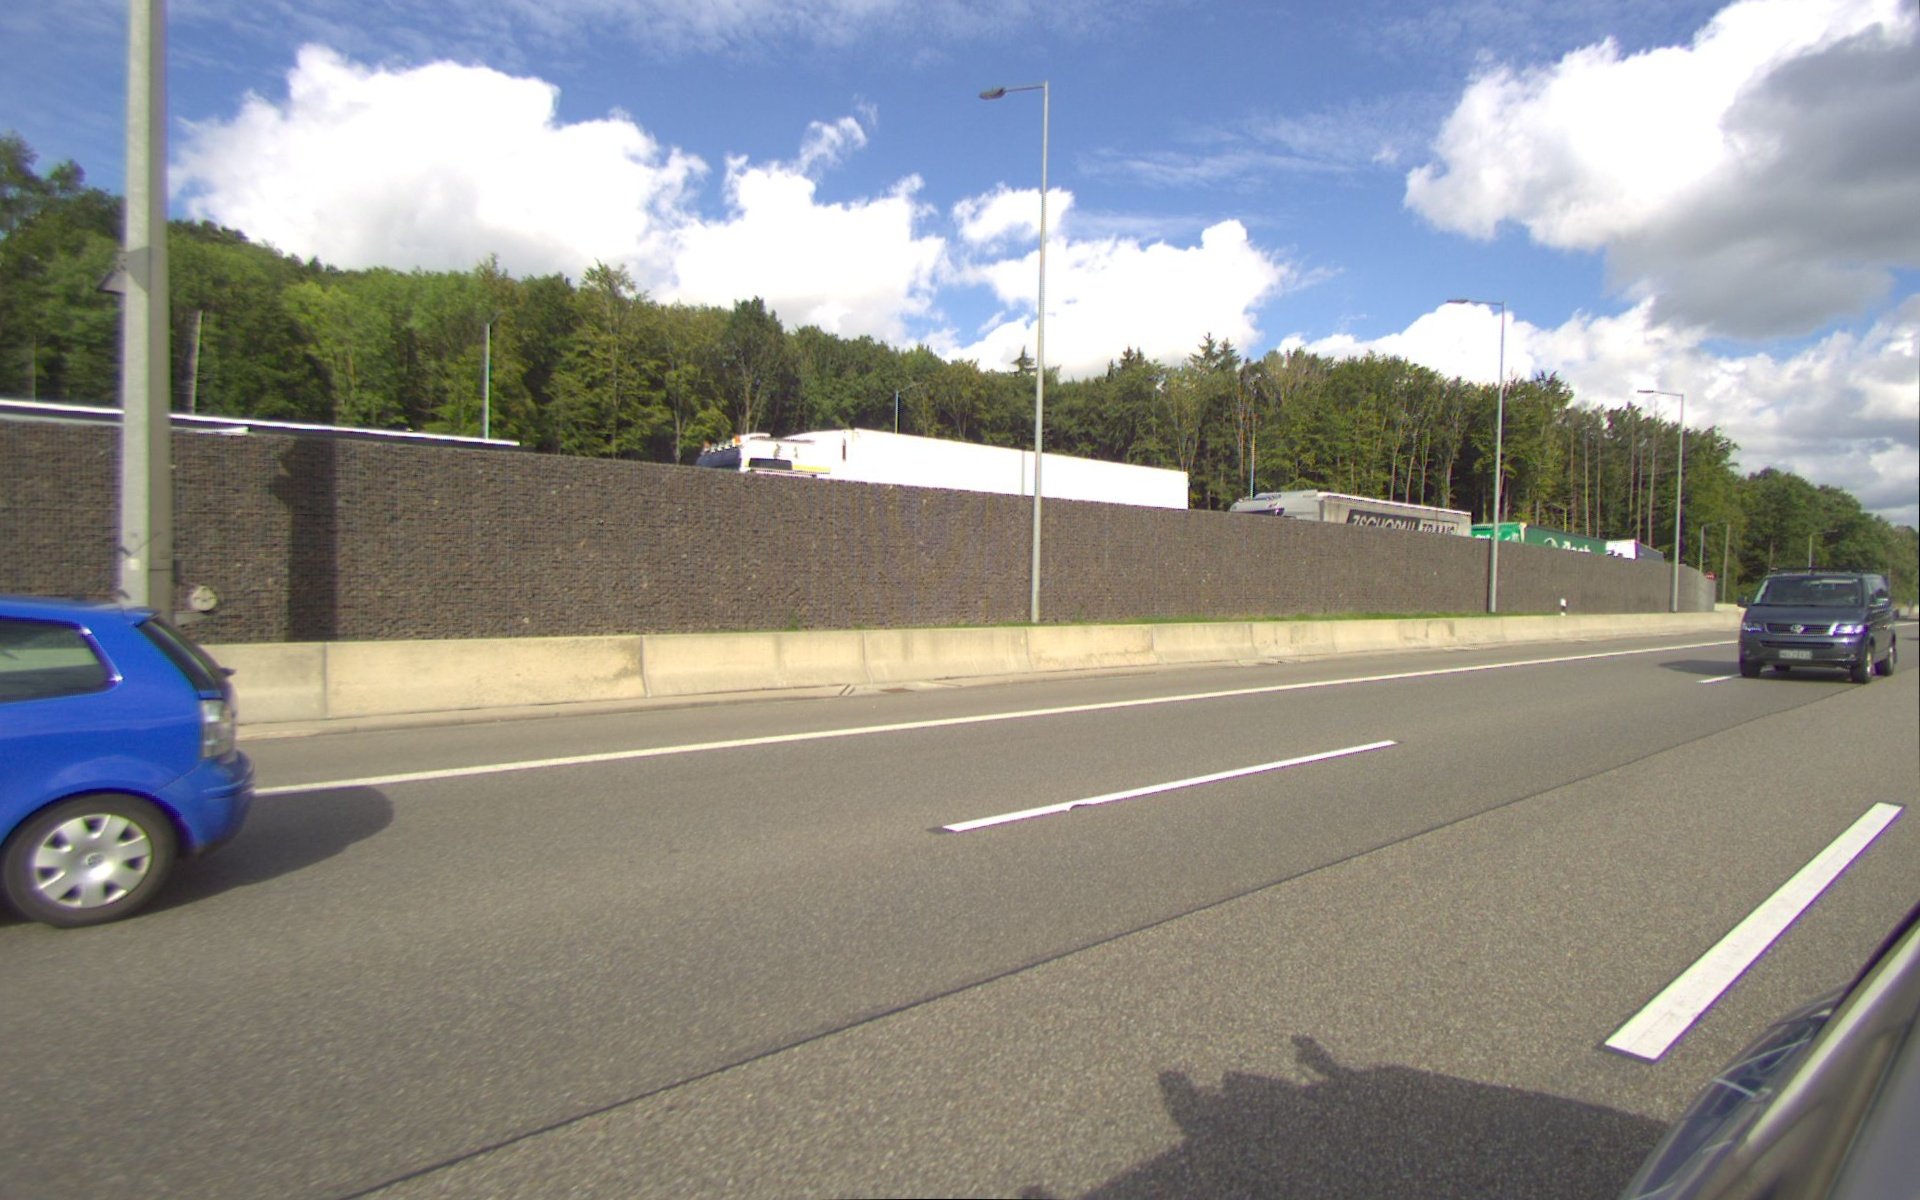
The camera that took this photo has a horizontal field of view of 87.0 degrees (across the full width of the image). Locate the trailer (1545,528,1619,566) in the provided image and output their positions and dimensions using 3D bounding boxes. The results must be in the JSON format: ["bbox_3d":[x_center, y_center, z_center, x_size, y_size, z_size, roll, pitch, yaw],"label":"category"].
[{"bbox_3d":[36.047,-3.059,58.578,6.087,2.038,1.997,-3,2,-41],"label":"trailer"}]

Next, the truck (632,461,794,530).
[{"bbox_3d":[-8.351,-3.474,34.507,4.977,2.038,1.998,-2,2,-39],"label":"truck"}]

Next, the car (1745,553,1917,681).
[{"bbox_3d":[16.964,0.244,19.618,4.876,2.192,1.925,-1,1,-42],"label":"car"}]

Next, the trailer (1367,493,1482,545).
[{"bbox_3d":[20.706,-3.515,44.925,6.845,2.038,2.054,-3,2,-41],"label":"trailer"}]

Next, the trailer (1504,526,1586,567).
[{"bbox_3d":[31.708,-2.881,54.773,5.675,2.038,1.997,-2,2,-40],"label":"trailer"}]

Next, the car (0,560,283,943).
[{"bbox_3d":[-5.284,0.601,3.946,4.226,1.530,1.718,1,-1,-41],"label":"car"}]

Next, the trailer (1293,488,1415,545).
[{"bbox_3d":[15.918,-3.294,40.708,5.903,2.038,2.048,-3,2,-41],"label":"trailer"}]

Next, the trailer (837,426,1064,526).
[{"bbox_3d":[-0.128,-3.159,26.976,6.126,2.039,2.134,0,2,-41],"label":"trailer"}]

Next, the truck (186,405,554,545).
[{"bbox_3d":[-10.174,-2.020,17.735,5.311,2.038,1.998,-2,2,-39],"label":"truck"}]

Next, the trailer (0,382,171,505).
[{"bbox_3d":[-18.507,-3.059,19.583,2.203,2.038,4.894,2,2,45],"label":"trailer"}]

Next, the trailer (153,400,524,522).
[{"bbox_3d":[-14.301,-3.076,23.812,2.131,2.038,7.169,2,2,45],"label":"trailer"}]

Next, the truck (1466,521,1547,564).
[{"bbox_3d":[27.797,-2.880,51.416,4.697,2.038,2.049,-2,2,-40],"label":"truck"}]

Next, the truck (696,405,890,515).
[{"bbox_3d":[-3.864,-3.158,23.669,3.930,2.039,2.150,0,2,-41],"label":"truck"}]

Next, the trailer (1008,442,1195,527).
[{"bbox_3d":[4.446,-3.412,31.028,6.211,2.038,2.134,0,2,-41],"label":"trailer"}]

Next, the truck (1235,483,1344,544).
[{"bbox_3d":[12.221,-3.124,37.447,4.026,2.038,2.048,-2,2,-41],"label":"truck"}]
